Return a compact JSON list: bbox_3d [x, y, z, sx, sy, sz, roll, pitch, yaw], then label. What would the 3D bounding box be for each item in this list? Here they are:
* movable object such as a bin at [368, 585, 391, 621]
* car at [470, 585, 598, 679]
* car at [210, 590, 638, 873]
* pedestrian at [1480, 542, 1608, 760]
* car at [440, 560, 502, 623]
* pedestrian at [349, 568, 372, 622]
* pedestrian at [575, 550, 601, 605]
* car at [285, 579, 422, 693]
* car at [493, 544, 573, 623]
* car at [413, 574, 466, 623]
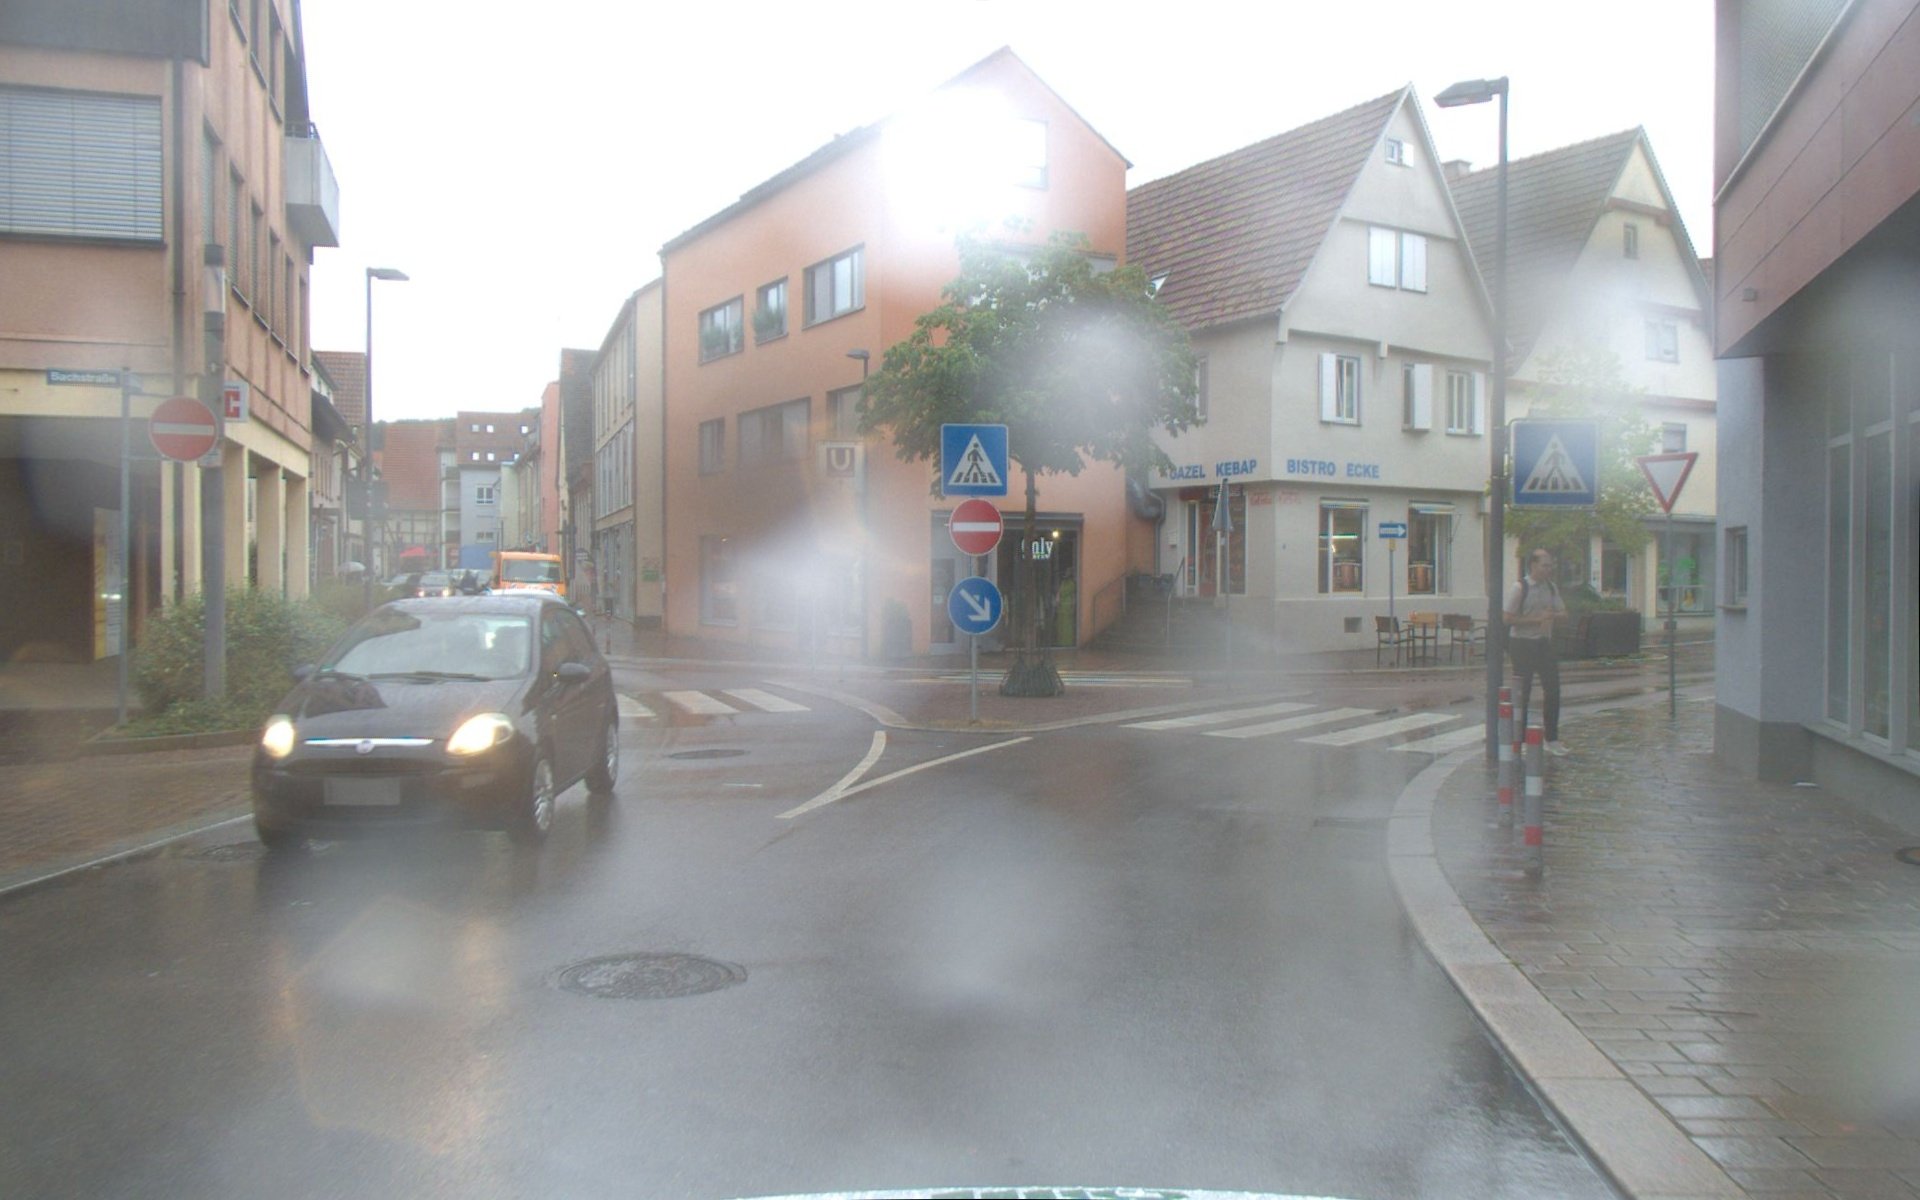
[{"bbox_3d":[-22.937,0.104,65.394,0.822,1.406,0.848,-1,1,-22],"label":"movable object such as a bin"},{"bbox_3d":[-7.456,0.490,28.686,1.962,1.466,4.144,-1,1,-17],"label":"car"},{"bbox_3d":[-3.290,0.696,10.954,1.615,1.471,3.982,-2,1,-2],"label":"car"},{"bbox_3d":[5.421,0.456,15.364,0.750,1.948,0.852,0,0,-38],"label":"pedestrian"},{"bbox_3d":[-18.334,-0.316,61.882,2.071,2.184,4.842,-2,1,-18],"label":"car"},{"bbox_3d":[-23.192,-0.192,63.961,0.822,2.049,0.848,-1,0,-22],"label":"pedestrian"},{"bbox_3d":[-13.809,-0.828,61.457,0.854,2.049,0.703,0,0,-20],"label":"pedestrian"},{"bbox_3d":[-8.616,0.463,23.644,1.689,1.483,3.888,1,0,-19],"label":"car"},{"bbox_3d":[-12.797,-0.475,49.421,2.070,2.184,4.844,-2,1,-17],"label":"car"},{"bbox_3d":[-23.389,-0.083,74.469,1.960,2.048,4.346,-2,1,-14],"label":"car"}]
